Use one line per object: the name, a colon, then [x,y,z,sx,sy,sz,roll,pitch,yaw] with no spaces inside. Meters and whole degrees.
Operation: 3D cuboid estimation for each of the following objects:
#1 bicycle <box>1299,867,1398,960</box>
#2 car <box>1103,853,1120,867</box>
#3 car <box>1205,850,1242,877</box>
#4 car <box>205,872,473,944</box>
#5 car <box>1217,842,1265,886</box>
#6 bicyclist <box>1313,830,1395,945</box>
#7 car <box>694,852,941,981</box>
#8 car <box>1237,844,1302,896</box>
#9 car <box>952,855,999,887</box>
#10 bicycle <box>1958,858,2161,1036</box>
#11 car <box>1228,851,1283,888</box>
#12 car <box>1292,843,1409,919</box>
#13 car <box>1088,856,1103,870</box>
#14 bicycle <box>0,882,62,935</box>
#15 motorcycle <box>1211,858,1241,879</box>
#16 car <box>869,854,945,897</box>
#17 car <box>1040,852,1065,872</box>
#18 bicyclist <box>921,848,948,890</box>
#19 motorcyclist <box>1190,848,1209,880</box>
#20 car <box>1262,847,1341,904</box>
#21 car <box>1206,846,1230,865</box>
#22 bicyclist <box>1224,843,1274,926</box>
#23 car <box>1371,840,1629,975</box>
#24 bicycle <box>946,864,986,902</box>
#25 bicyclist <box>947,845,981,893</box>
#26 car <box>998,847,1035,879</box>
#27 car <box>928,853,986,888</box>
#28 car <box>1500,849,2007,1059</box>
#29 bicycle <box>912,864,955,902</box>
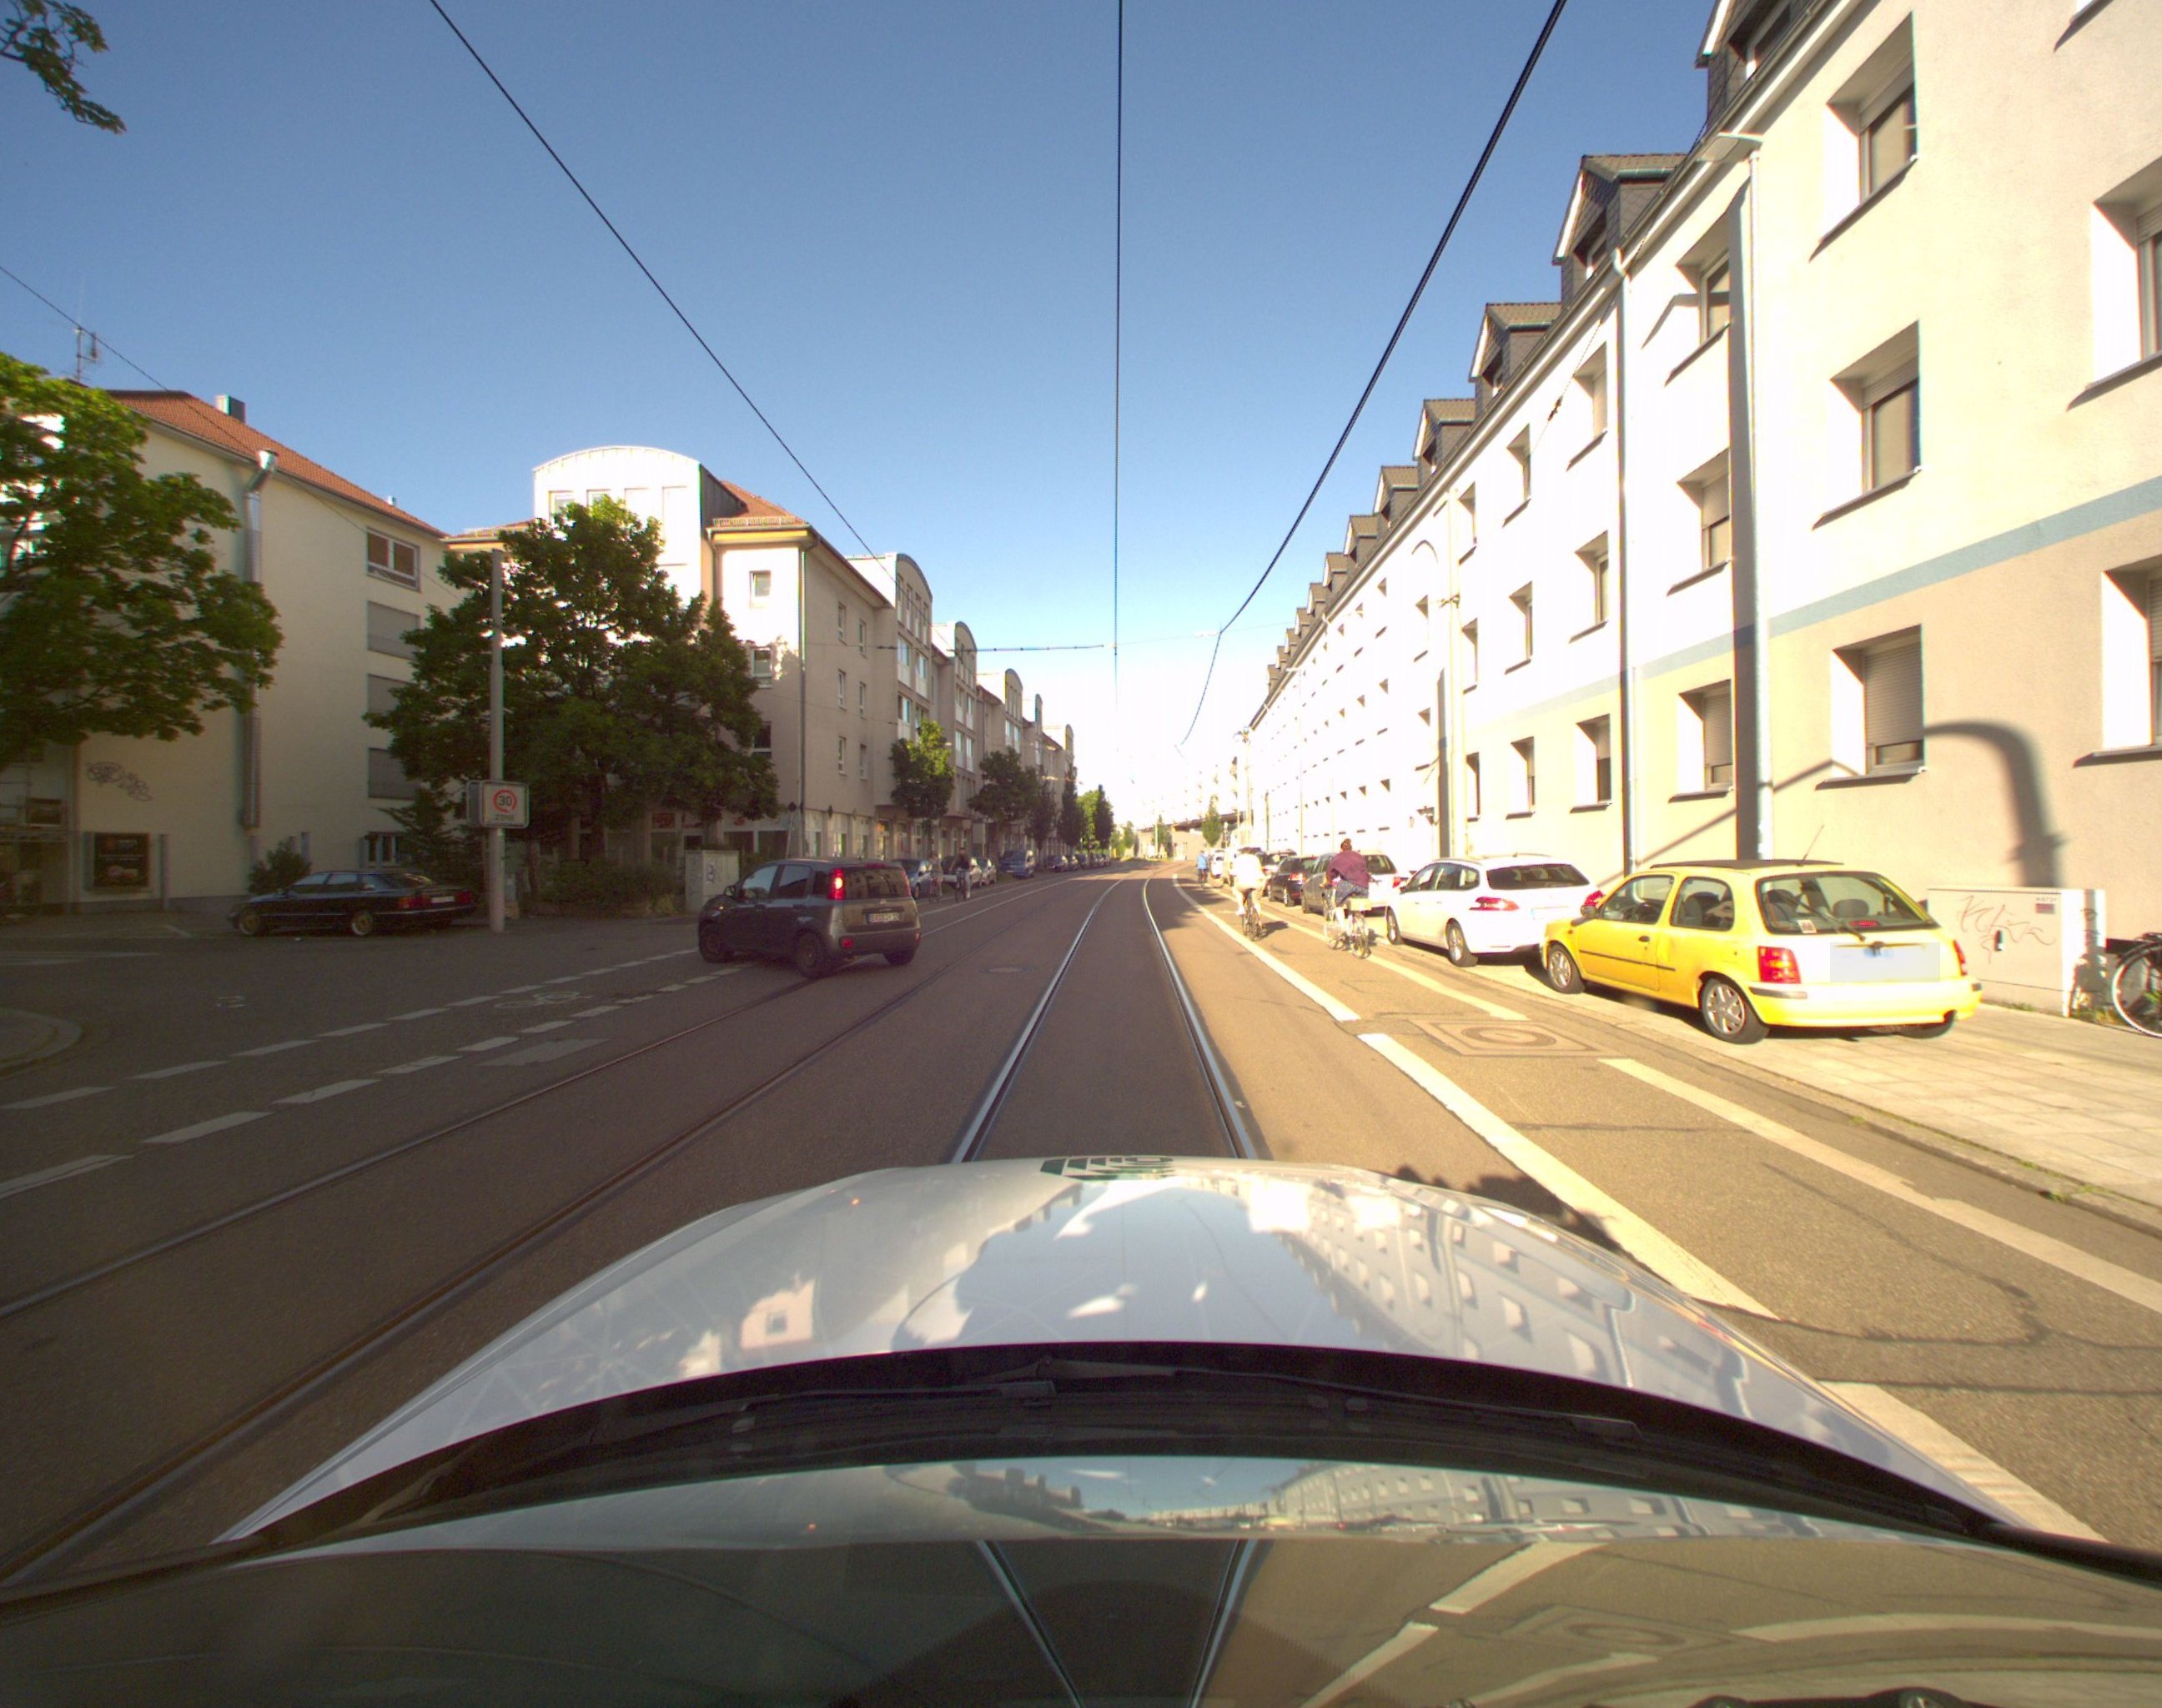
bicycle: [4.076,0.855,12.624,0.817,1.236,2.464,1,0,2]
car: [3.690,0.685,97.845,1.836,1.646,3.701,-1,0,4]
car: [8.945,0.570,51.386,1.836,1.646,4.554,-1,0,4]
car: [-15.899,1.145,17.540,4.529,1.388,1.717,-1,-1,7]
car: [7.812,0.448,40.027,1.778,1.970,4.160,-2,0,4]
bicyclist: [4.112,0.487,12.354,0.930,1.676,0.970,-1,0,2]
car: [-3.743,0.755,11.375,3.441,1.533,1.572,-1,0,37]
car: [6.870,0.556,30.076,1.653,1.669,3.908,-4,0,4]
car: [-5.704,0.876,44.452,1.822,1.593,4.003,-1,0,3]
bicycle: [7.946,0.641,5.725,1.092,1.197,2.328,-1,0,2]
car: [7.451,0.633,35.090,1.787,1.483,3.783,-1,0,4]
car: [6.440,0.587,19.914,1.746,1.571,3.909,-4,0,4]
car: [1.650,0.983,91.857,1.584,1.540,3.194,-1,0,4]
bicycle: [-26.246,1.353,19.731,0.724,1.165,1.982,-1,3,-8]
motorcycle: [8.087,0.803,45.472,0.494,1.144,1.751,-1,0,-36]
car: [-6.676,0.781,31.622,1.822,1.489,4.003,-3,0,3]
car: [-2.381,0.641,69.166,1.657,1.618,4.006,-1,0,5]
bicyclist: [-5.061,0.504,28.161,0.620,1.380,0.869,-5,0,3]
motorcyclist: [5.323,0.446,36.474,0.725,1.405,1.021,-1,0,2]
car: [6.688,0.606,25.080,1.584,1.537,4.012,-3,0,5]
car: [13.326,0.161,79.423,1.836,1.756,4.554,-1,0,4]
bicyclist: [3.055,0.534,14.895,0.725,1.462,1.021,-1,0,2]
car: [5.886,0.640,12.142,1.672,1.571,4.513,-2,0,3]
bicycle: [-3.923,0.978,27.954,0.835,1.149,2.234,-5,0,3]
bicyclist: [-3.954,0.508,27.686,0.878,1.561,0.869,-4,0,3]
car: [-4.175,0.558,53.415,1.657,1.986,4.349,-1,0,5]
car: [-5.976,0.766,39.596,1.821,1.593,4.006,-1,0,5]
car: [5.794,0.699,7.813,1.507,1.430,4.204,-2,0,3]
bicycle: [-5.069,0.988,28.132,0.835,1.149,2.234,-5,0,3]
